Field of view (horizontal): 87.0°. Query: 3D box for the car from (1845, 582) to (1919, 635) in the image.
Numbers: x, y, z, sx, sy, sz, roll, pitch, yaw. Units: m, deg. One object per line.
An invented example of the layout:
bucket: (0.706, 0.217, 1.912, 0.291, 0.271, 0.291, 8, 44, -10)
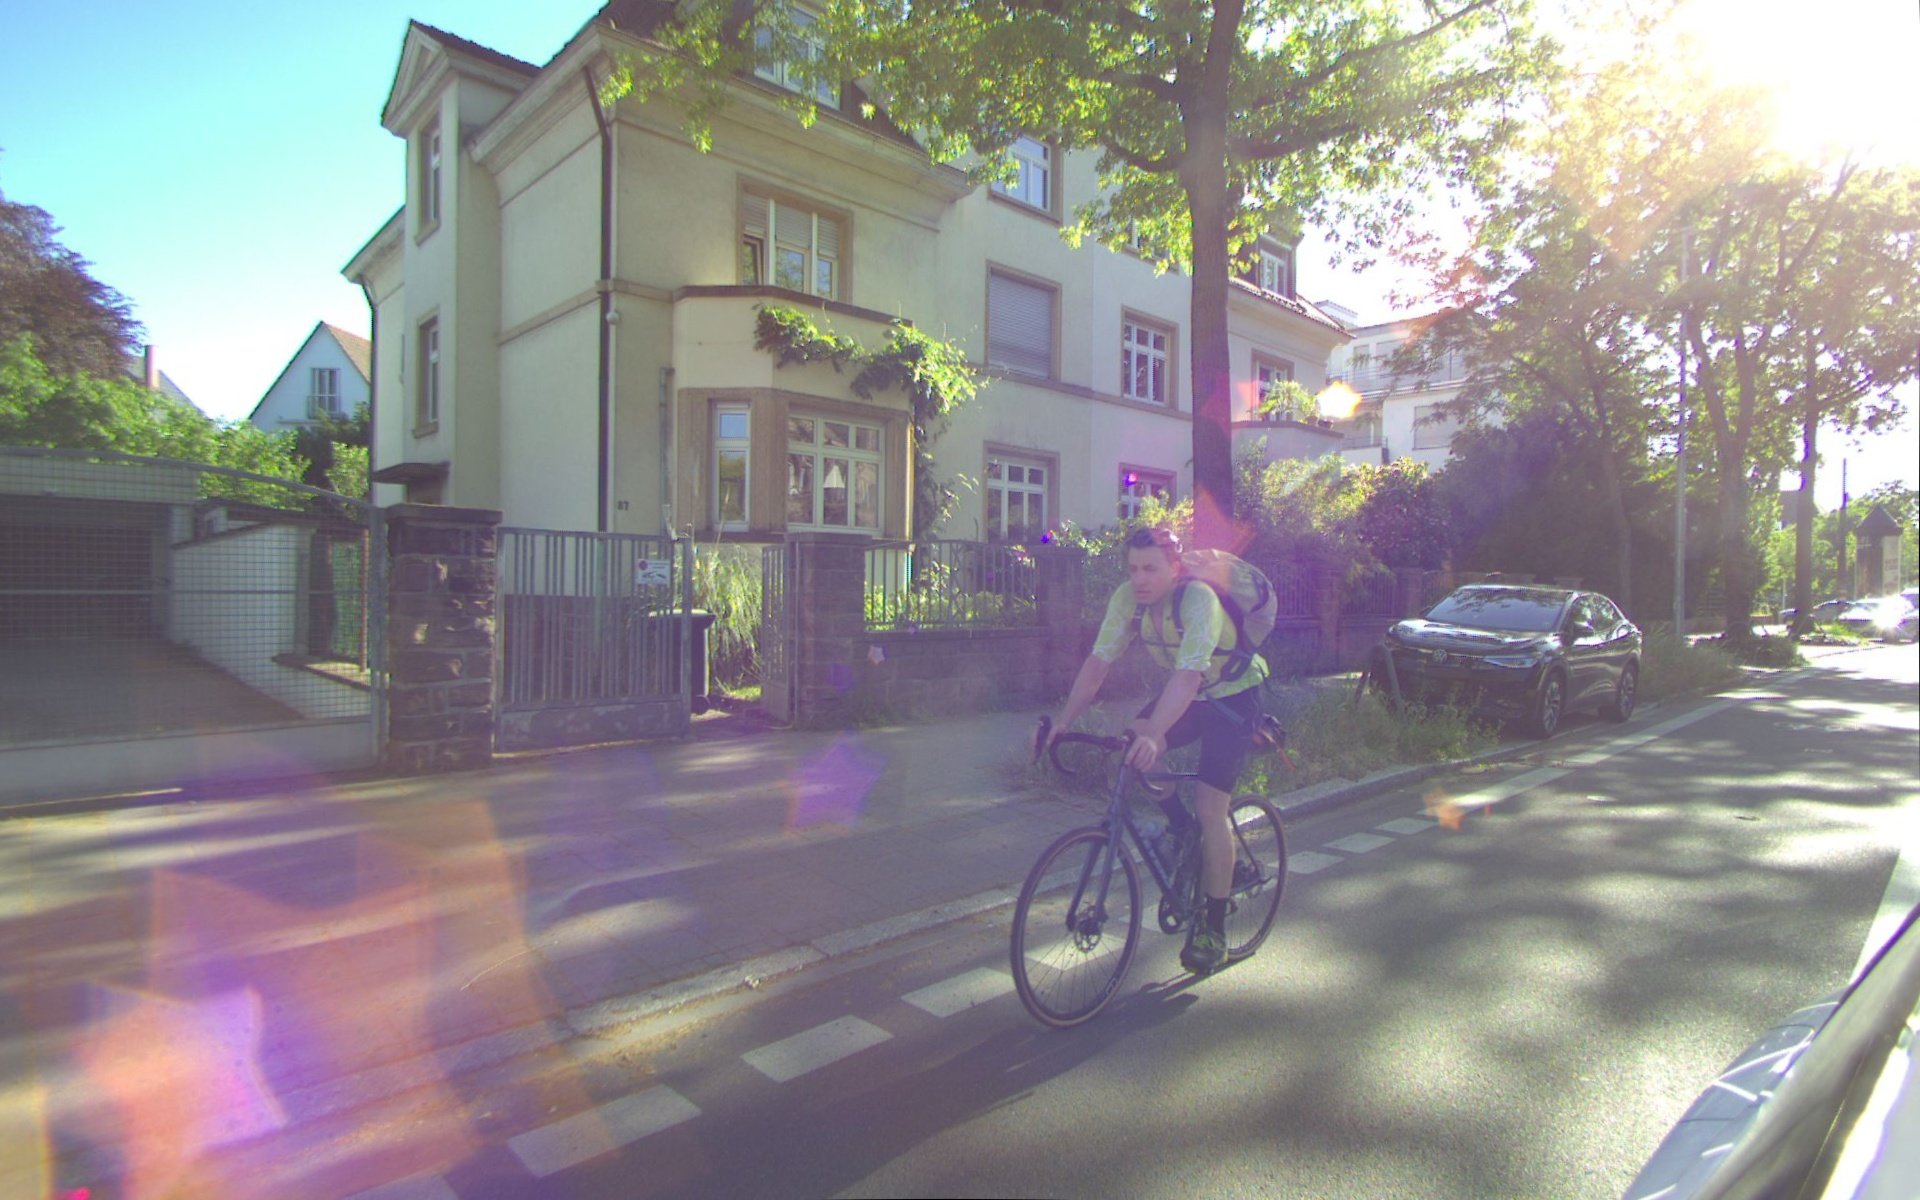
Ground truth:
car: (31.512, 0.252, 34.099, 3.927, 1.660, 1.824, 0, 1, -38)

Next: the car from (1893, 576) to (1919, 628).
car: (36.890, 0.071, 38.057, 4.663, 1.919, 2.128, 0, 1, -41)

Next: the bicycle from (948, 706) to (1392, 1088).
bicycle: (0.877, 0.970, 3.864, 1.852, 0.937, 0.677, 0, 1, -41)

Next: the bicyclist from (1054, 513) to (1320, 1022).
bicyclist: (0.858, 0.545, 3.837, 0.732, 1.679, 0.677, 0, 0, -41)

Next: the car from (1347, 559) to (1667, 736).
car: (6.701, 0.477, 12.198, 4.304, 1.695, 1.997, 1, 2, -42)
